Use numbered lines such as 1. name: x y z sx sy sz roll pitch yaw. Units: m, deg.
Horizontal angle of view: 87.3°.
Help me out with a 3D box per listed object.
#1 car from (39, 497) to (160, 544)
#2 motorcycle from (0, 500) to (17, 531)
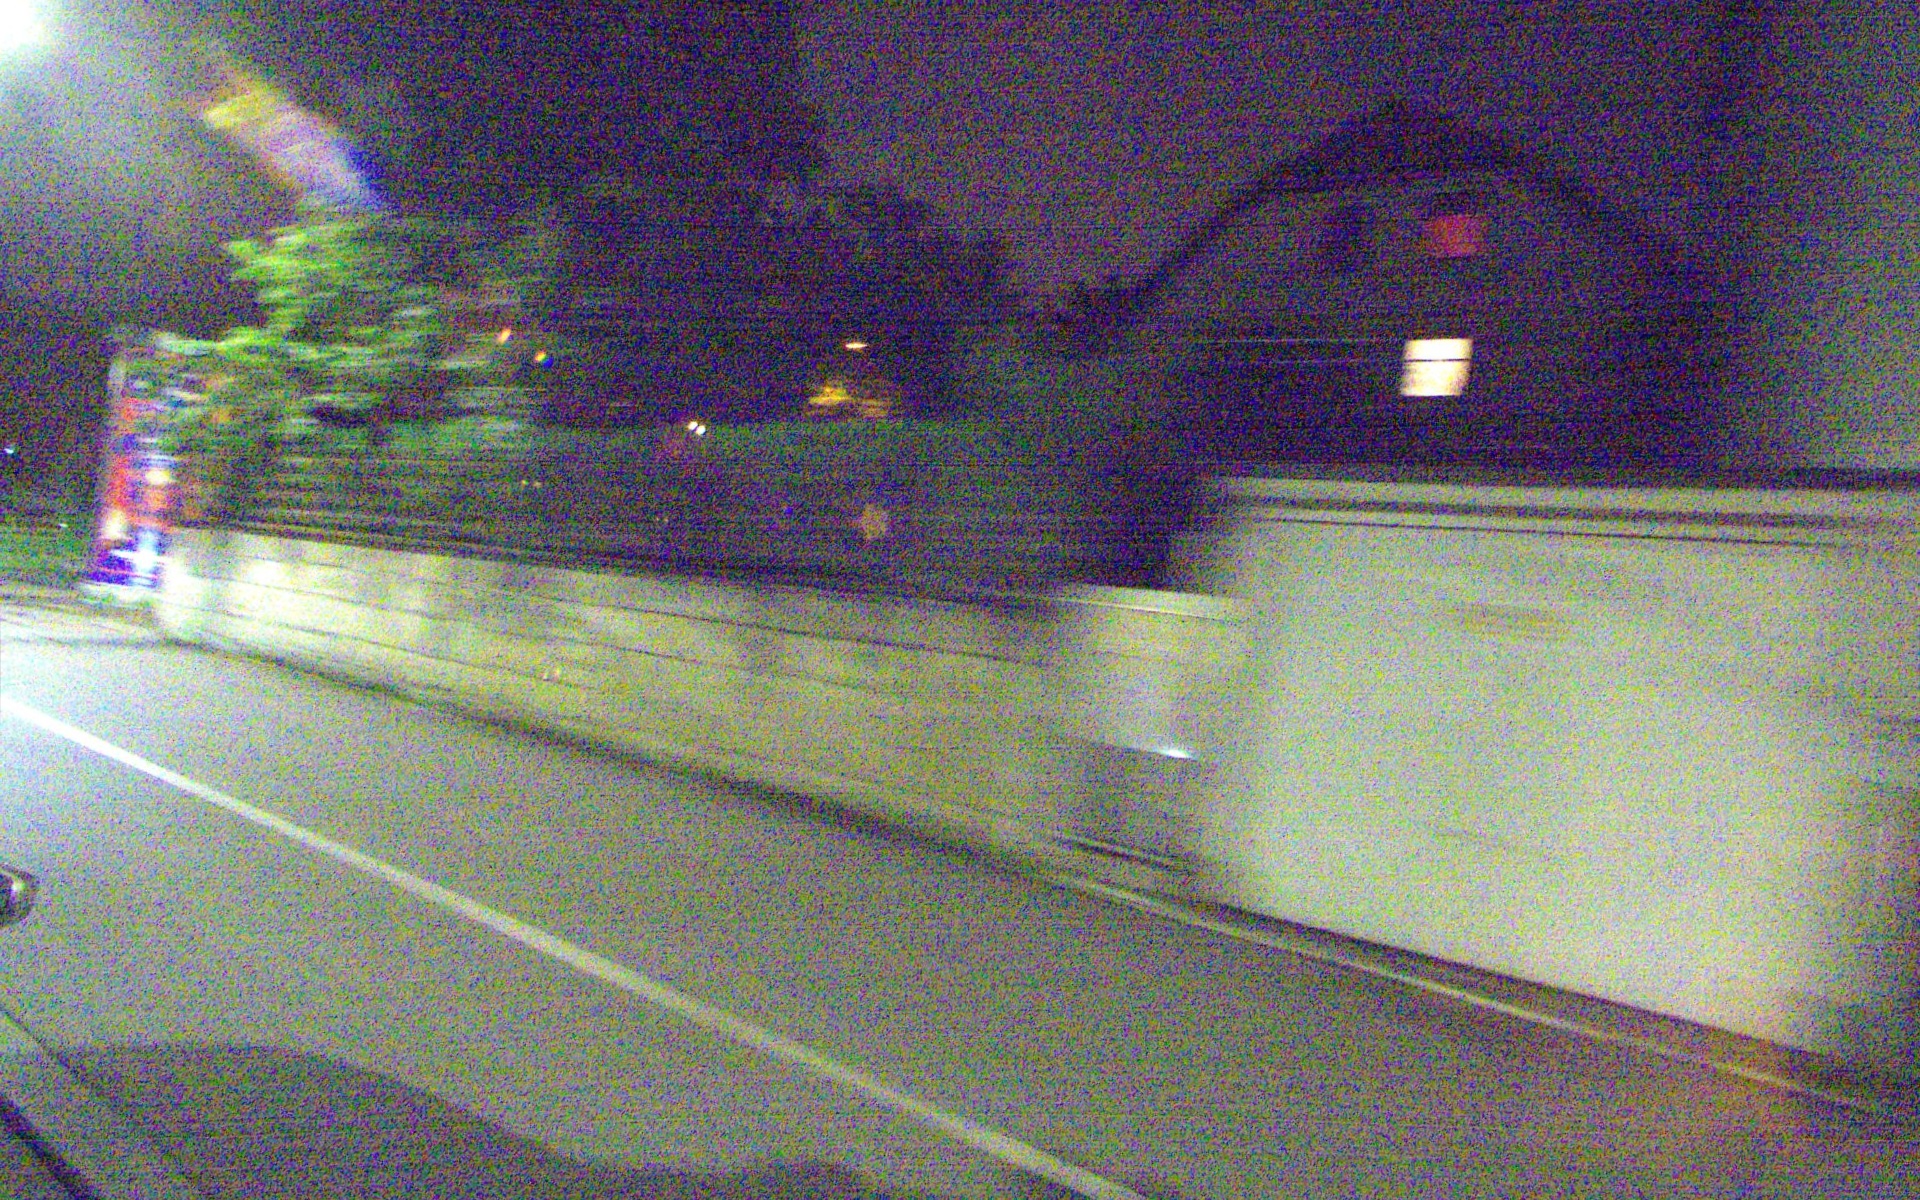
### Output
1. car: -38.779 -3.548 45.438 1.829 1.497 3.633 7 0 16
2. motorcycle: -40.344 -3.602 41.295 0.698 1.229 2.267 7 0 16
